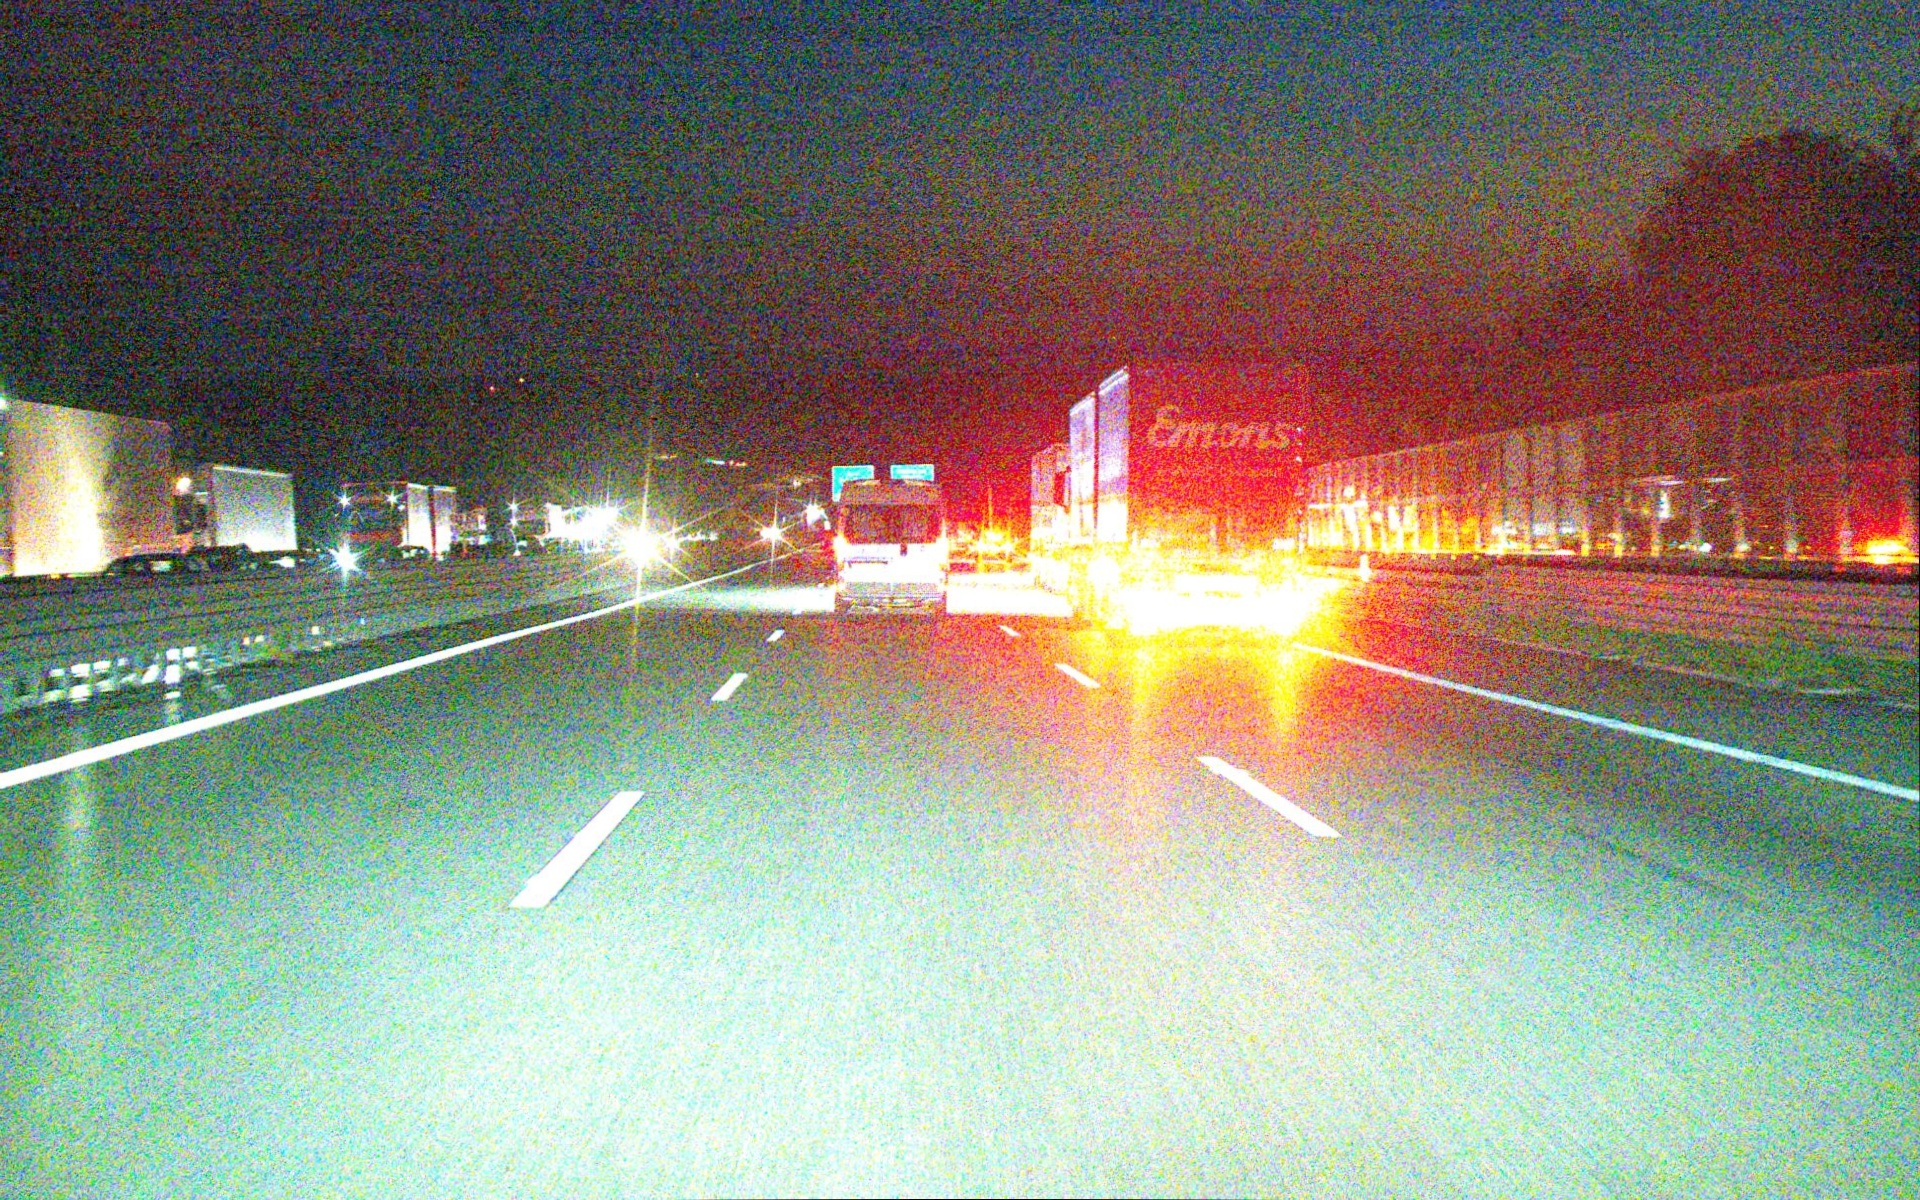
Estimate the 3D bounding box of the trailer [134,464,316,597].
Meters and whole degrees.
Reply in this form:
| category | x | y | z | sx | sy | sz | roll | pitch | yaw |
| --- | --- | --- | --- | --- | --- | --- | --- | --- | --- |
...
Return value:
| category | x | y | z | sx | sy | sz | roll | pitch | yaw |
| --- | --- | --- | --- | --- | --- | --- | --- | --- | --- |
| trailer | -21.836 | -1.950 | 102.942 | 2.885 | 3.659 | 13.048 | 1 | 0 | -1 |

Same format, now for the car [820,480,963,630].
| category | x | y | z | sx | sy | sz | roll | pitch | yaw |
| --- | --- | --- | --- | --- | --- | --- | --- | --- | --- |
| car | -1.195 | -0.832 | 63.035 | 2.337 | 2.631 | 5.247 | 0 | 1 | 2 |

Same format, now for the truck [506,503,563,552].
| category | x | y | z | sx | sy | sz | roll | pitch | yaw |
| --- | --- | --- | --- | --- | --- | --- | --- | --- | --- |
| truck | -30.067 | -5.098 | 243.373 | 3.169 | 3.211 | 7.449 | 1 | 0 | -1 |

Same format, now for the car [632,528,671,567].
| category | x | y | z | sx | sy | sz | roll | pitch | yaw |
| --- | --- | --- | --- | --- | --- | --- | --- | --- | --- |
| car | -16.415 | -2.782 | 182.858 | 1.993 | 2.007 | 4.001 | 1 | 0 | -6 |

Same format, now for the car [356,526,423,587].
| category | x | y | z | sx | sy | sz | roll | pitch | yaw |
| --- | --- | --- | --- | --- | --- | --- | --- | --- | --- |
| car | -19.330 | -1.476 | 116.607 | 1.993 | 2.007 | 4.001 | 0 | 1 | -6 |

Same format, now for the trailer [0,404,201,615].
| category | x | y | z | sx | sy | sz | roll | pitch | yaw |
| --- | --- | --- | --- | --- | --- | --- | --- | --- | --- |
| trailer | -17.155 | -1.595 | 66.029 | 2.885 | 3.659 | 12.218 | 1 | 0 | -2 |

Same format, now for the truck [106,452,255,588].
| category | x | y | z | sx | sy | sz | roll | pitch | yaw |
| --- | --- | --- | --- | --- | --- | --- | --- | --- | --- |
| truck | -21.703 | -2.235 | 96.010 | 2.874 | 3.661 | 6.051 | 0 | 1 | -1 |

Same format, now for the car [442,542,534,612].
| category | x | y | z | sx | sy | sz | roll | pitch | yaw |
| --- | --- | --- | --- | --- | --- | --- | --- | --- | --- |
| car | -14.136 | -0.673 | 103.169 | 1.993 | 2.007 | 5.325 | 1 | 0 | 0 |

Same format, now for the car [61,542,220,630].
| category | x | y | z | sx | sy | sz | roll | pitch | yaw |
| --- | --- | --- | --- | --- | --- | --- | --- | --- | --- |
| car | -13.365 | -0.226 | 56.287 | 1.993 | 1.354 | 4.001 | 1 | 0 | -6 |

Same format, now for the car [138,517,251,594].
| category | x | y | z | sx | sy | sz | roll | pitch | yaw |
| --- | --- | --- | --- | --- | --- | --- | --- | --- | --- |
| car | -17.592 | -0.998 | 79.158 | 1.993 | 1.680 | 4.508 | 1 | 0 | -6 |

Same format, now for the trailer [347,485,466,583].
| category | x | y | z | sx | sy | sz | roll | pitch | yaw |
| --- | --- | --- | --- | --- | --- | --- | --- | --- | --- |
| trailer | -23.335 | -2.677 | 145.819 | 2.885 | 3.836 | 15.069 | 1 | 0 | -1 |

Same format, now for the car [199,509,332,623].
| category | x | y | z | sx | sy | sz | roll | pitch | yaw |
| --- | --- | --- | --- | --- | --- | --- | --- | --- | --- |
| car | -12.847 | -0.610 | 63.767 | 1.993 | 2.007 | 4.001 | 1 | 0 | -6 |

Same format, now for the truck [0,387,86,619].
| category | x | y | z | sx | sy | sz | roll | pitch | yaw |
| --- | --- | --- | --- | --- | --- | --- | --- | --- | --- |
| truck | -16.710 | -1.560 | 56.976 | 2.874 | 3.661 | 6.780 | 1 | 0 | -2 |

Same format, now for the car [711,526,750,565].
| category | x | y | z | sx | sy | sz | roll | pitch | yaw |
| --- | --- | --- | --- | --- | --- | --- | --- | --- | --- |
| car | -12.557 | -2.965 | 187.798 | 1.993 | 2.007 | 4.001 | 1 | 0 | -6 |

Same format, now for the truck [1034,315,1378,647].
| category | x | y | z | sx | sy | sz | roll | pitch | yaw |
| --- | --- | --- | --- | --- | --- | --- | --- | --- | --- |
| truck | 3.663 | -1.823 | 58.513 | 3.915 | 4.611 | 21.020 | 0 | 1 | -1 |

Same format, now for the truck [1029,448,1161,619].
| category | x | y | z | sx | sy | sz | roll | pitch | yaw |
| --- | --- | --- | --- | --- | --- | --- | --- | --- | --- |
| truck | 3.676 | -1.884 | 96.838 | 3.344 | 4.460 | 13.910 | 0 | 1 | 1 |

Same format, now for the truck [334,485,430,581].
| category | x | y | z | sx | sy | sz | roll | pitch | yaw |
| --- | --- | --- | --- | --- | --- | --- | --- | --- | --- |
| truck | -23.152 | -2.647 | 137.966 | 2.859 | 3.674 | 6.603 | 1 | 0 | -2 |
